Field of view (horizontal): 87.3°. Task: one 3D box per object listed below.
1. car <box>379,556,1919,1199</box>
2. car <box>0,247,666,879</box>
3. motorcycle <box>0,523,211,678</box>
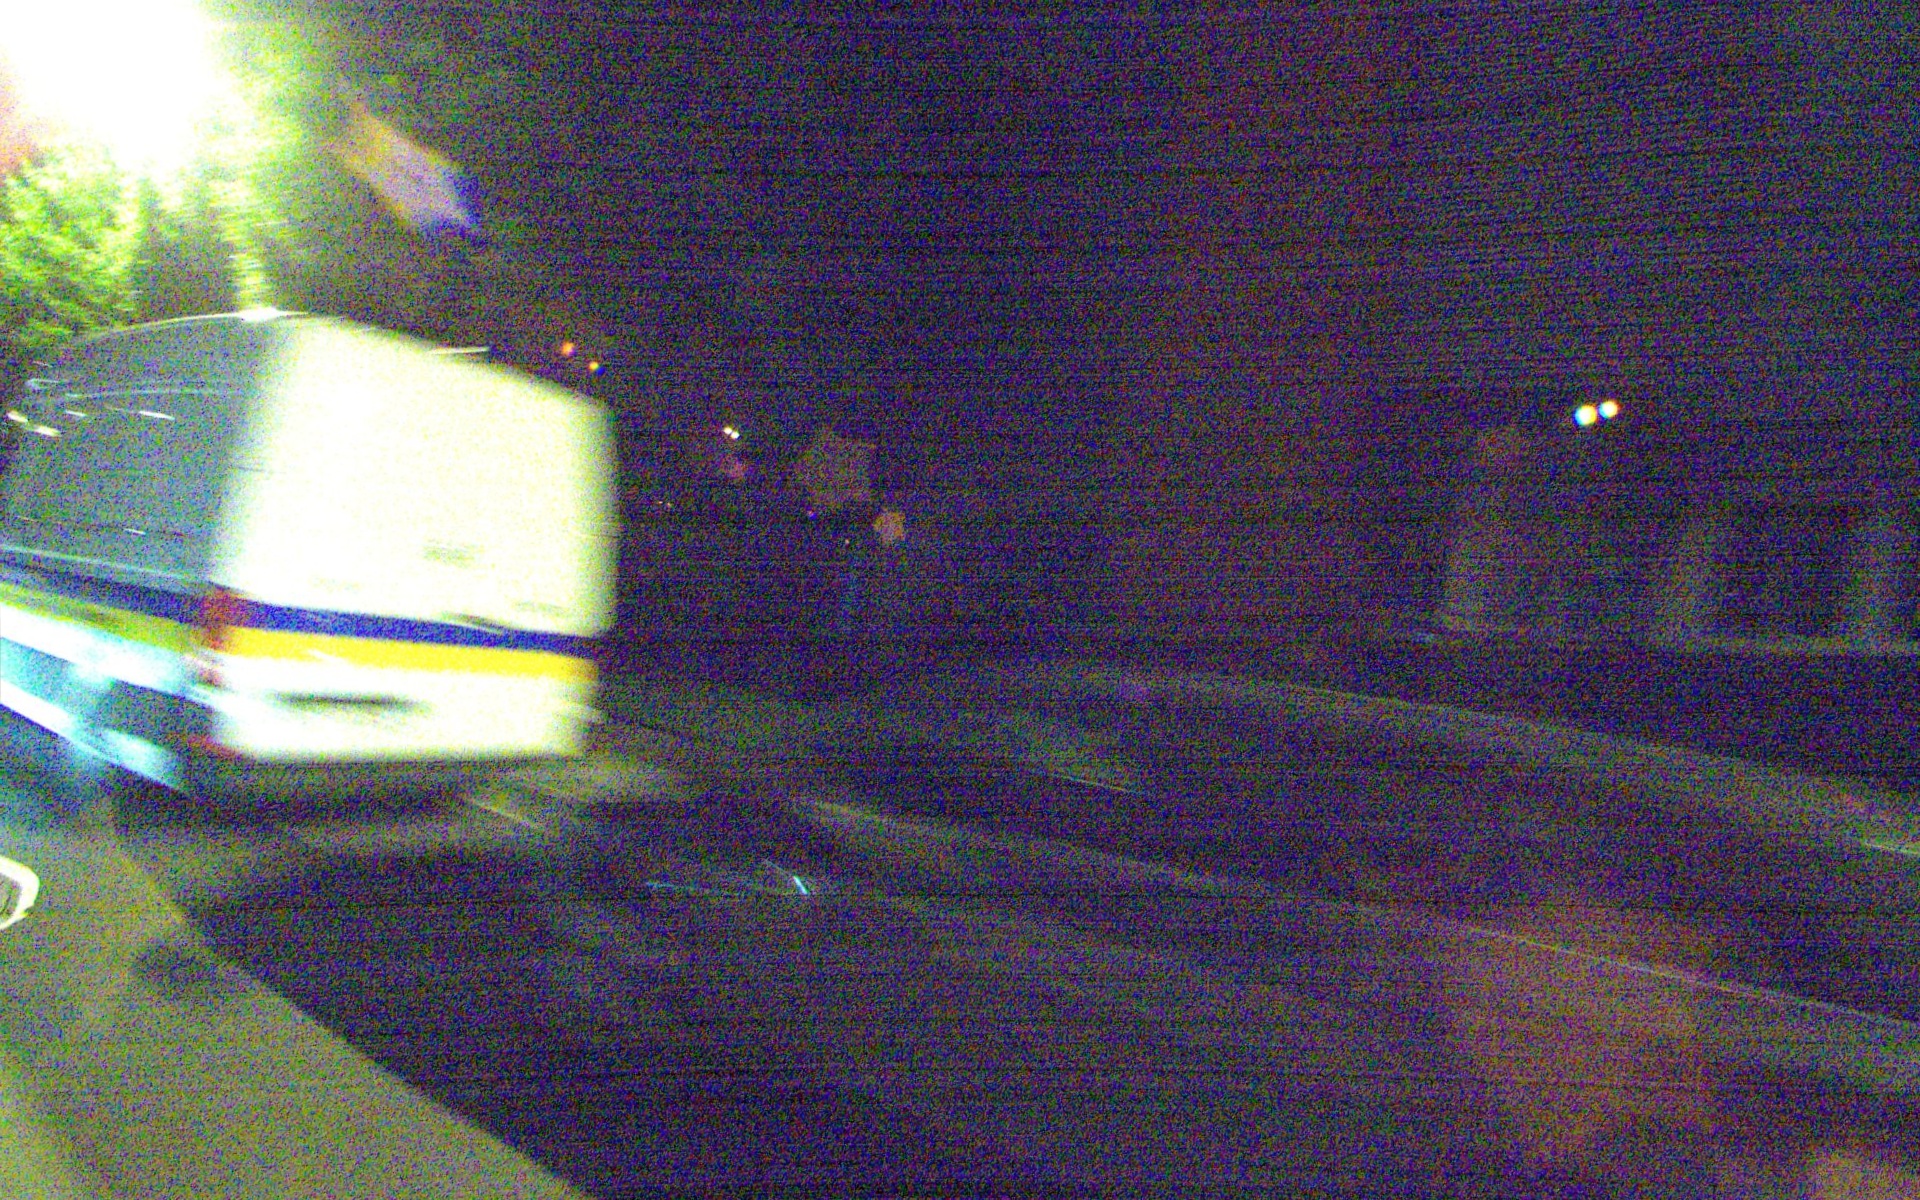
[{"bbox_3d":[0.379,0.914,3.167,4.562,1.526,1.713,7,0,31],"label":"car"},{"bbox_3d":[-4.826,-0.343,6.558,5.955,2.556,2.023,7,-1,35],"label":"car"},{"bbox_3d":[-8.416,-0.037,9.296,2.159,1.197,0.764,9,-1,-24],"label":"motorcycle"}]
